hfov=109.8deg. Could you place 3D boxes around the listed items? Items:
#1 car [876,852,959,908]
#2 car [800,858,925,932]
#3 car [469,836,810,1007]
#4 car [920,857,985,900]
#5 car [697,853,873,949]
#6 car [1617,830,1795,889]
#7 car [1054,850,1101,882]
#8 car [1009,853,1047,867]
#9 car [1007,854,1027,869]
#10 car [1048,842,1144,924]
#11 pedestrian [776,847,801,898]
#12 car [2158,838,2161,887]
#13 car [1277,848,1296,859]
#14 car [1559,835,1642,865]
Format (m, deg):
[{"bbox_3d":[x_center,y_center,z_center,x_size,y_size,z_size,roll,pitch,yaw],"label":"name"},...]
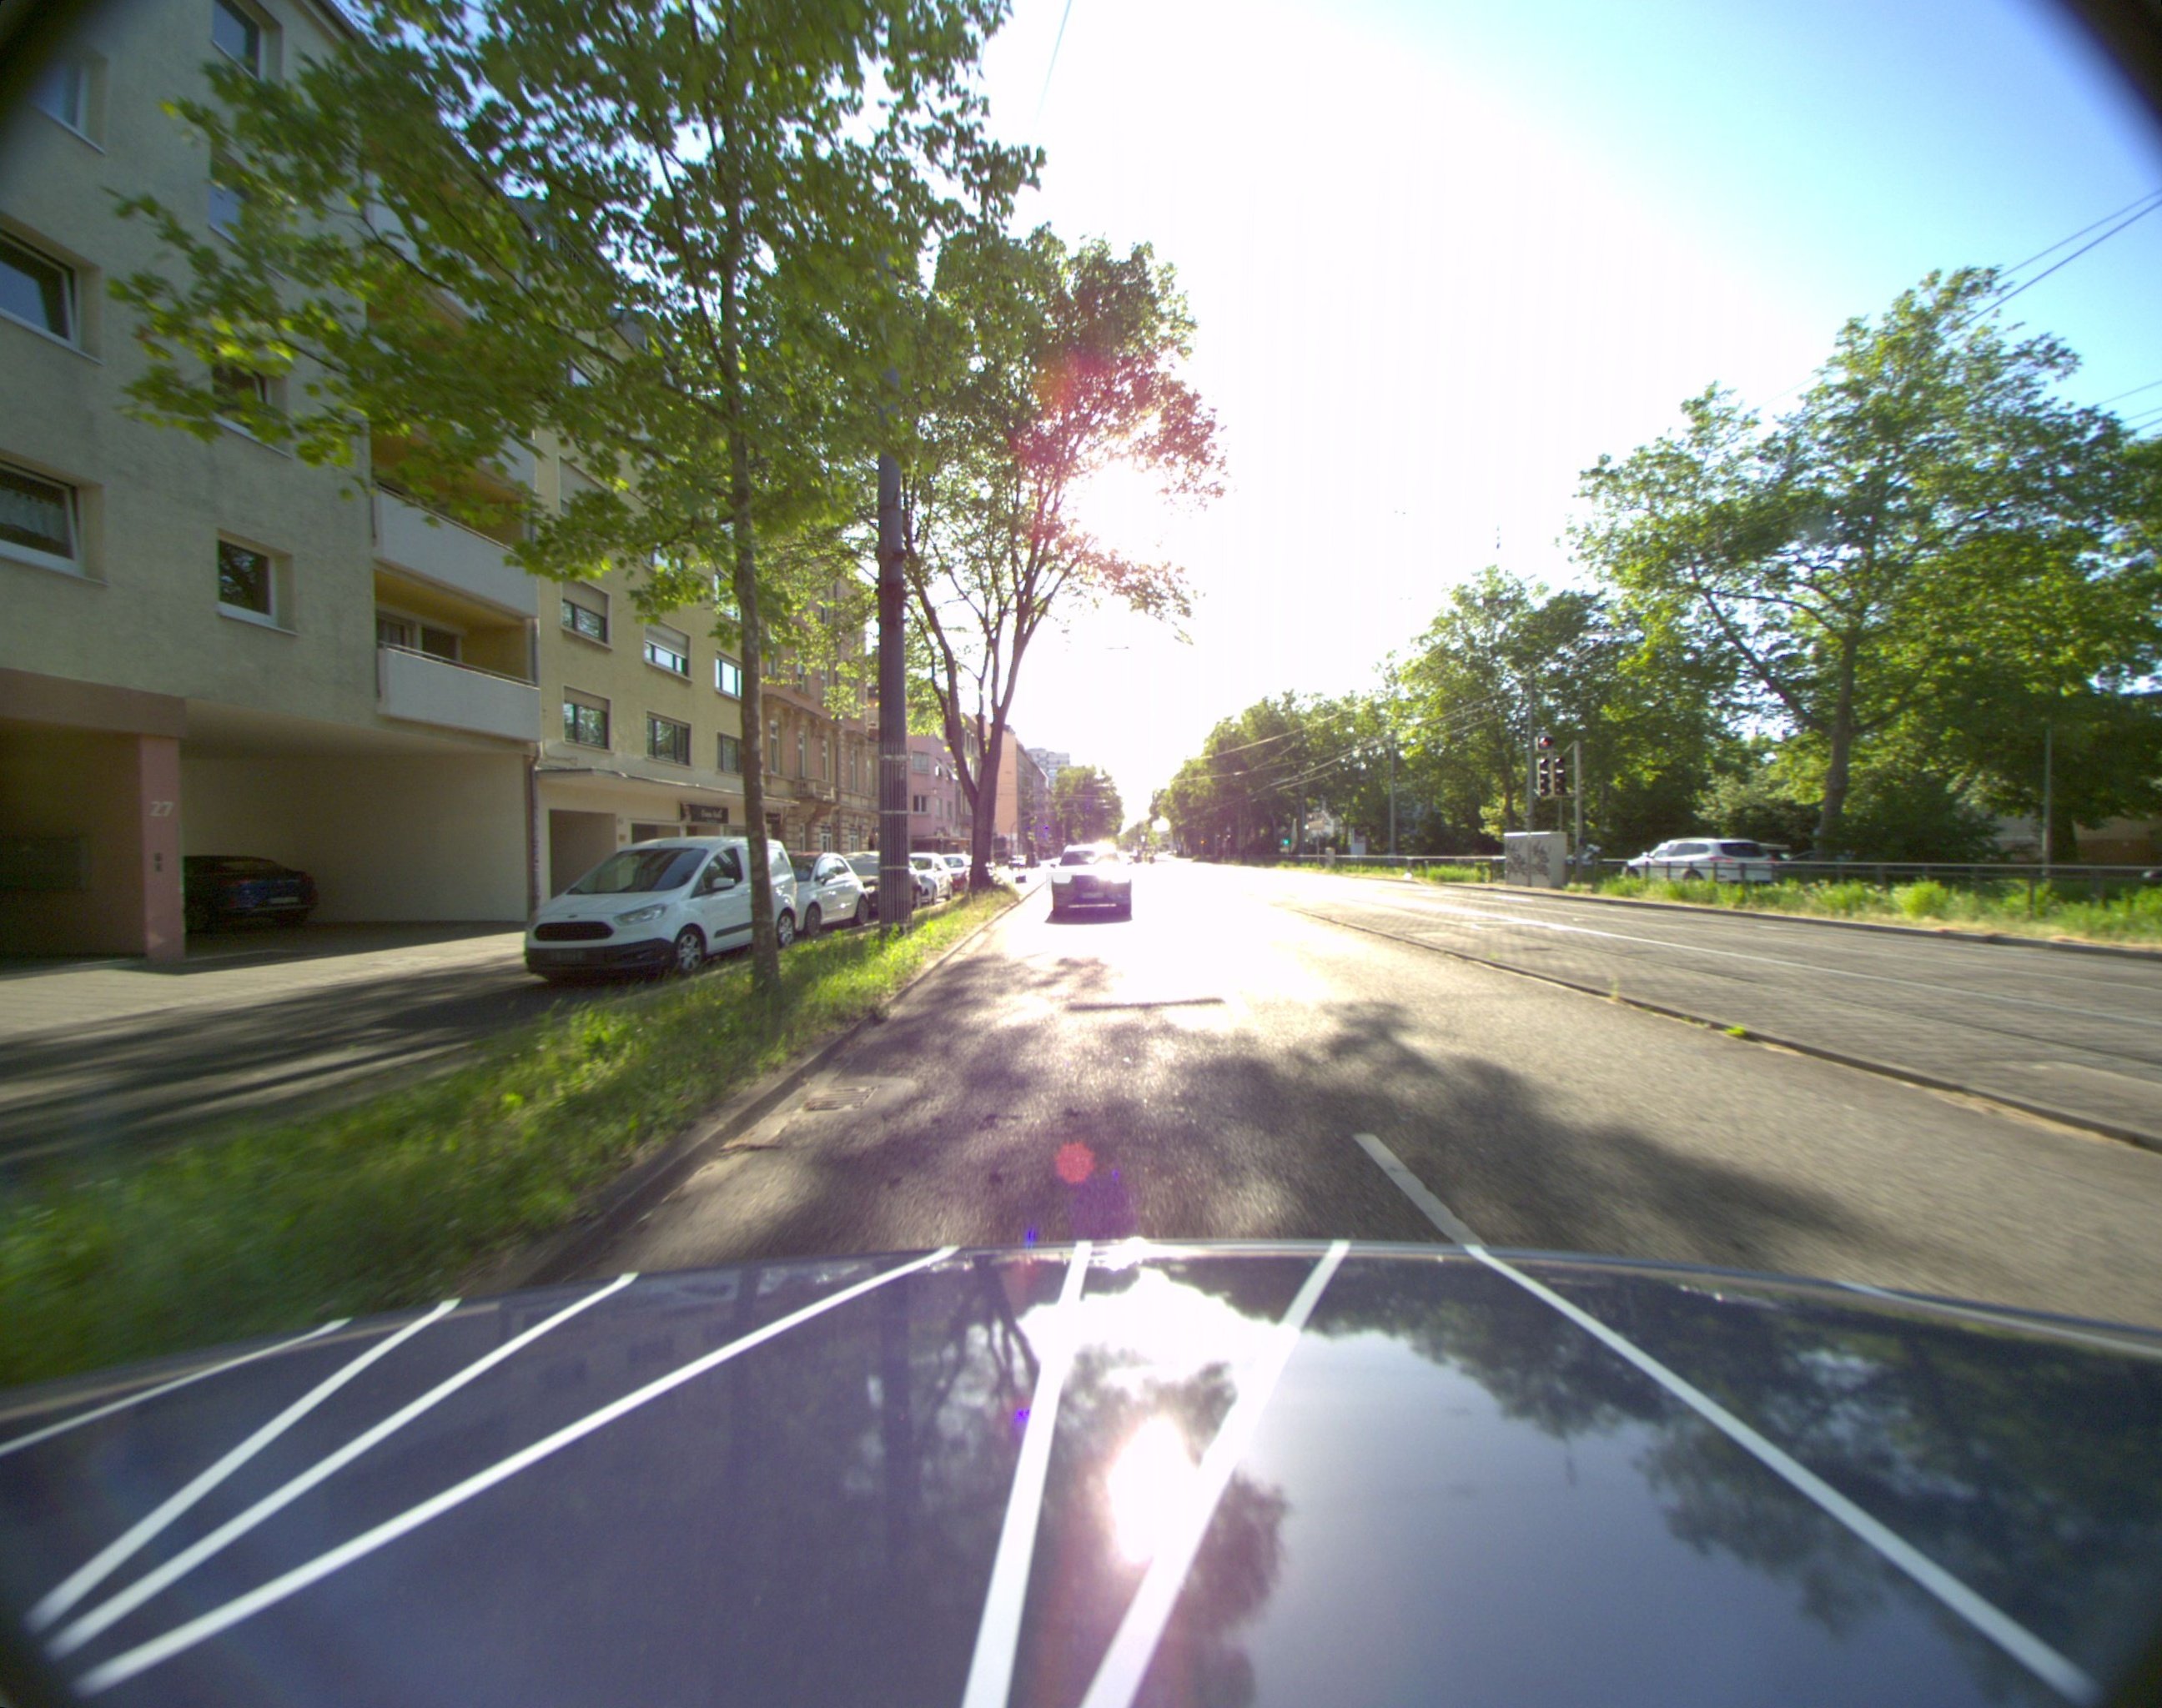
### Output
[{"bbox_3d":[-4.805,0.730,22.779,1.630,1.468,3.697,-3,0,0],"label":"car"},{"bbox_3d":[-4.992,0.880,17.913,1.565,1.476,3.788,-3,0,4],"label":"car"},{"bbox_3d":[-5.199,0.686,9.724,1.629,1.658,4.143,-3,0,4],"label":"car"},{"bbox_3d":[-4.722,0.868,28.435,1.593,1.426,3.906,-3,0,2],"label":"car"},{"bbox_3d":[-5.196,0.747,13.854,1.515,1.471,3.493,-3,0,5],"label":"car"},{"bbox_3d":[19.619,0.169,24.175,1.890,1.610,4.598,-3,0,1],"label":"car"},{"bbox_3d":[-0.232,0.606,38.496,1.661,1.473,3.968,-3,0,-10],"label":"car"},{"bbox_3d":[-6.233,0.734,89.720,4.006,1.442,1.813,-3,0,-35],"label":"car"},{"bbox_3d":[-6.861,0.812,82.065,1.739,1.510,4.000,1,0,1],"label":"car"},{"bbox_3d":[0.373,0.621,18.199,1.968,1.664,4.000,-3,0,1],"label":"car"},{"bbox_3d":[-11.725,0.749,30.476,0.513,2.002,0.852,-3,0,5],"label":"pedestrian"},{"bbox_3d":[27.627,0.209,16.926,1.598,1.216,4.024,-3,1,2],"label":"car"},{"bbox_3d":[29.733,-0.070,110.080,1.722,1.462,3.757,-3,0,0],"label":"car"},{"bbox_3d":[28.777,-0.205,42.252,1.745,1.462,4.347,-3,0,3],"label":"car"}]
